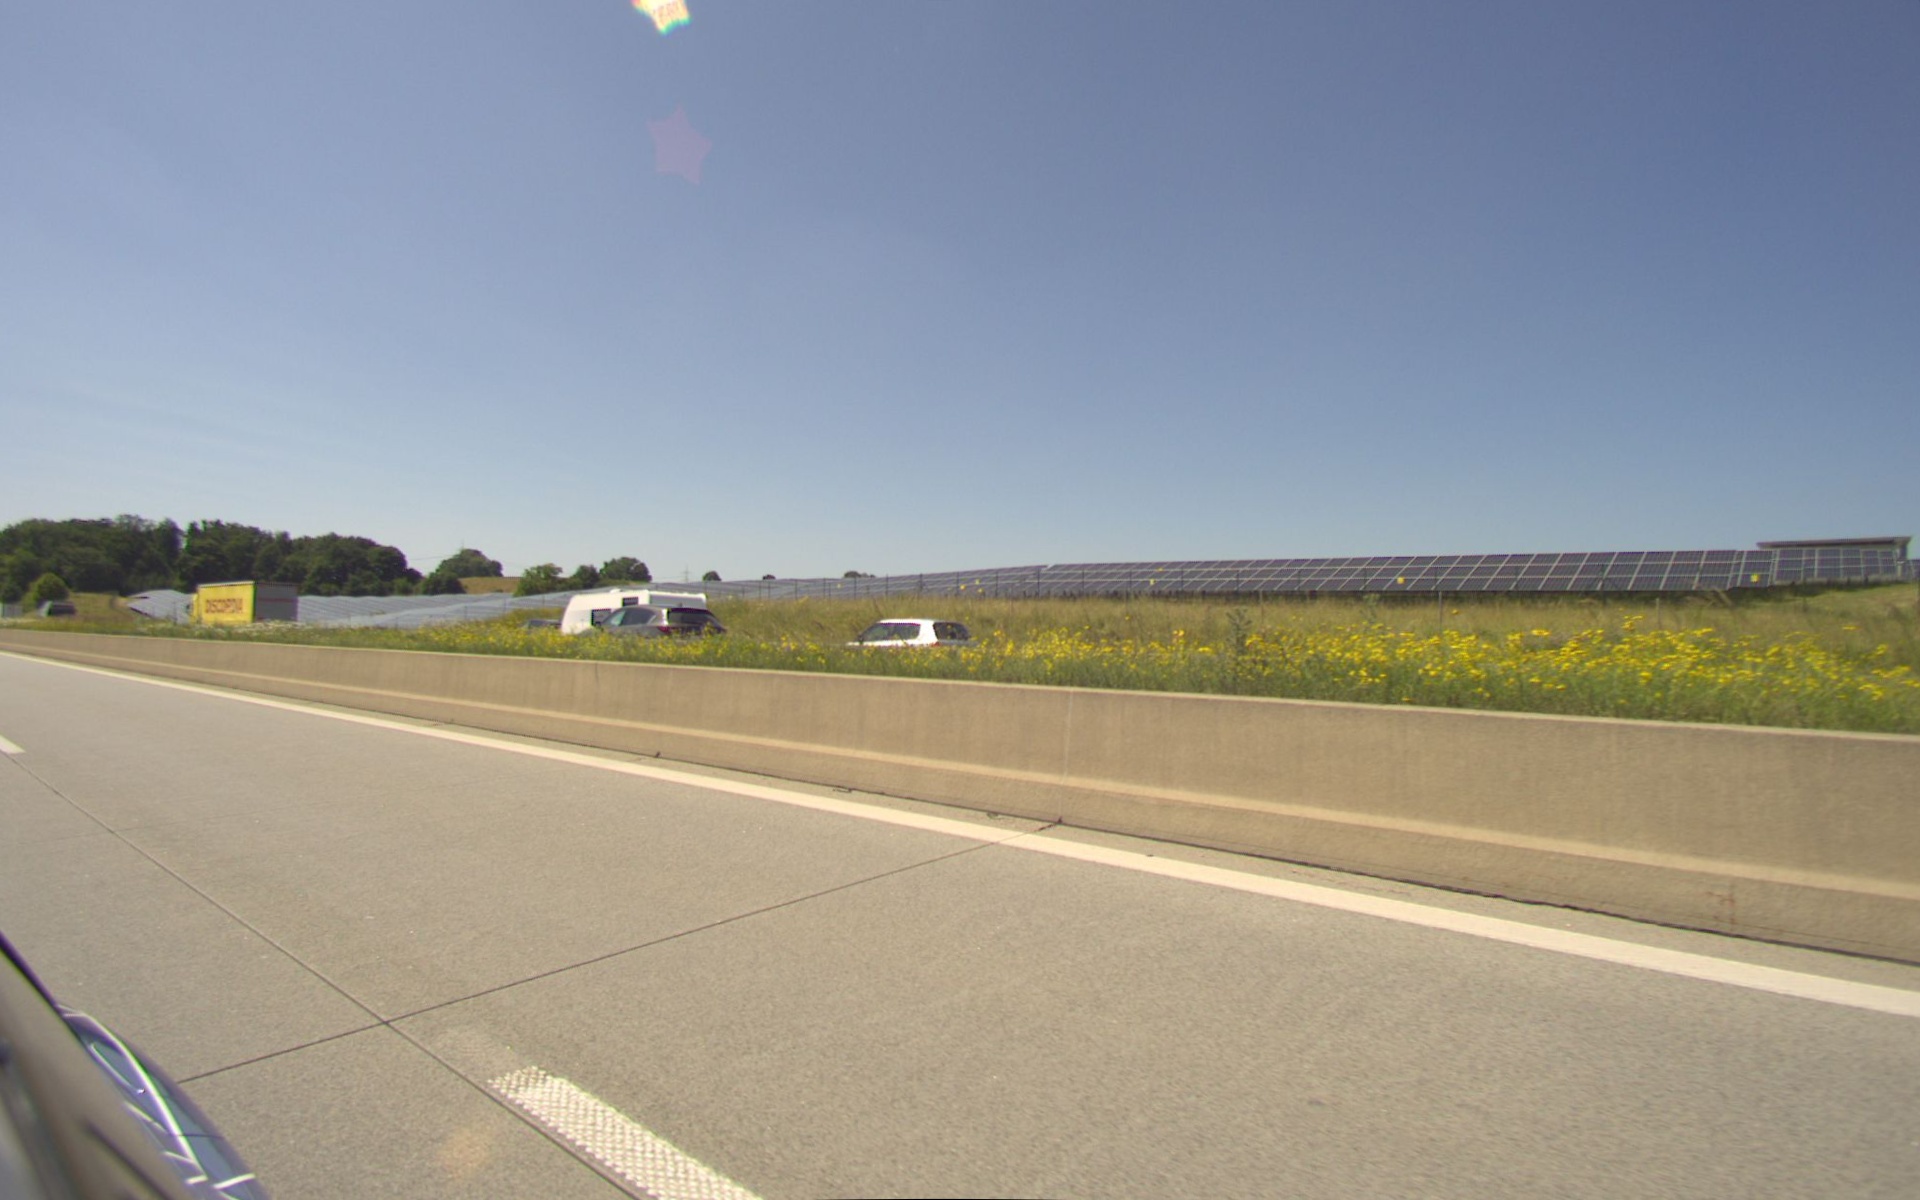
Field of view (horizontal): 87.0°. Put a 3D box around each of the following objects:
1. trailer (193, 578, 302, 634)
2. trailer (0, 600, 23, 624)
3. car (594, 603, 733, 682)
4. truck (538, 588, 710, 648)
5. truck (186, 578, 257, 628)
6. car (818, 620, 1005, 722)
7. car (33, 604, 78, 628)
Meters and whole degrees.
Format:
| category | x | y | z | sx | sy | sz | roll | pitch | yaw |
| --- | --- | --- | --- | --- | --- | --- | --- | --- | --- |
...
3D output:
| category | x | y | z | sx | sy | sz | roll | pitch | yaw |
| --- | --- | --- | --- | --- | --- | --- | --- | --- | --- |
| trailer | -49.858 | 0.459 | 70.525 | 14.013 | 3.577 | 2.901 | -1 | -2 | 41 |
| trailer | -149.889 | 1.838 | 158.784 | 11.758 | 3.551 | 3.042 | -1 | 0 | 41 |
| car | -6.443 | 0.870 | 21.848 | 3.251 | 1.543 | 1.310 | -1 | 1 | 41 |
| truck | -12.525 | 0.615 | 37.335 | 7.626 | 2.029 | 2.491 | -1 | 0 | 41 |
| truck | -54.599 | 0.233 | 74.774 | 6.344 | 3.567 | 2.893 | -1 | -1 | 41 |
| car | -1.115 | 1.433 | 21.861 | 3.938 | 1.957 | 1.726 | -1 | 0 | 41 |
| car | -69.756 | 1.223 | 78.012 | 5.387 | 1.741 | 1.973 | -1 | 0 | 41 |
